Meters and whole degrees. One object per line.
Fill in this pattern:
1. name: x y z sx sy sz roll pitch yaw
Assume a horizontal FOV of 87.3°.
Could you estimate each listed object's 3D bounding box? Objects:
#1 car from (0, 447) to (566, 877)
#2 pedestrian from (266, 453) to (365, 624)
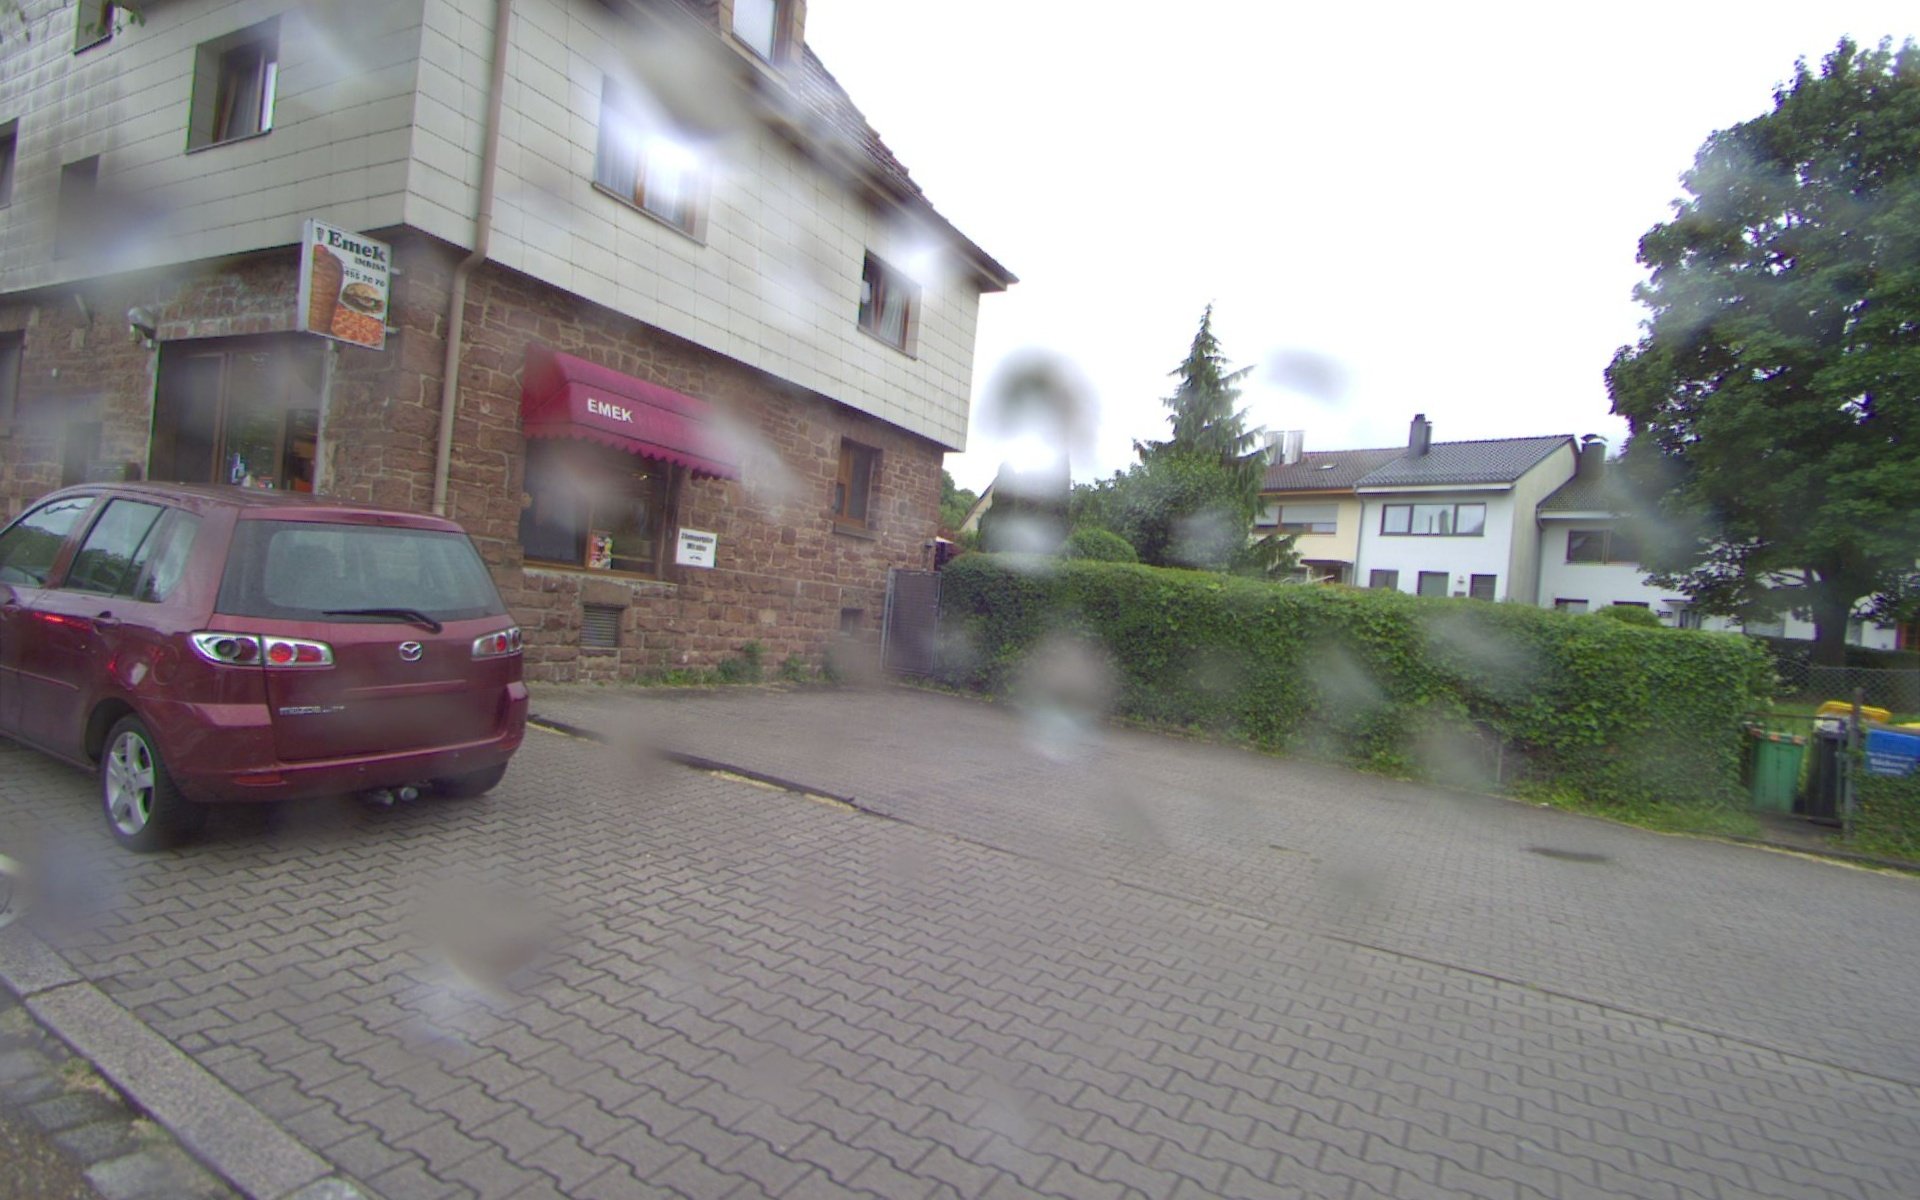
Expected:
1. car: -3.960 0.083 5.241 3.565 1.511 1.584 8 3 29
2. pedestrian: -7.405 -0.696 11.569 0.475 1.862 0.638 8 1 32
